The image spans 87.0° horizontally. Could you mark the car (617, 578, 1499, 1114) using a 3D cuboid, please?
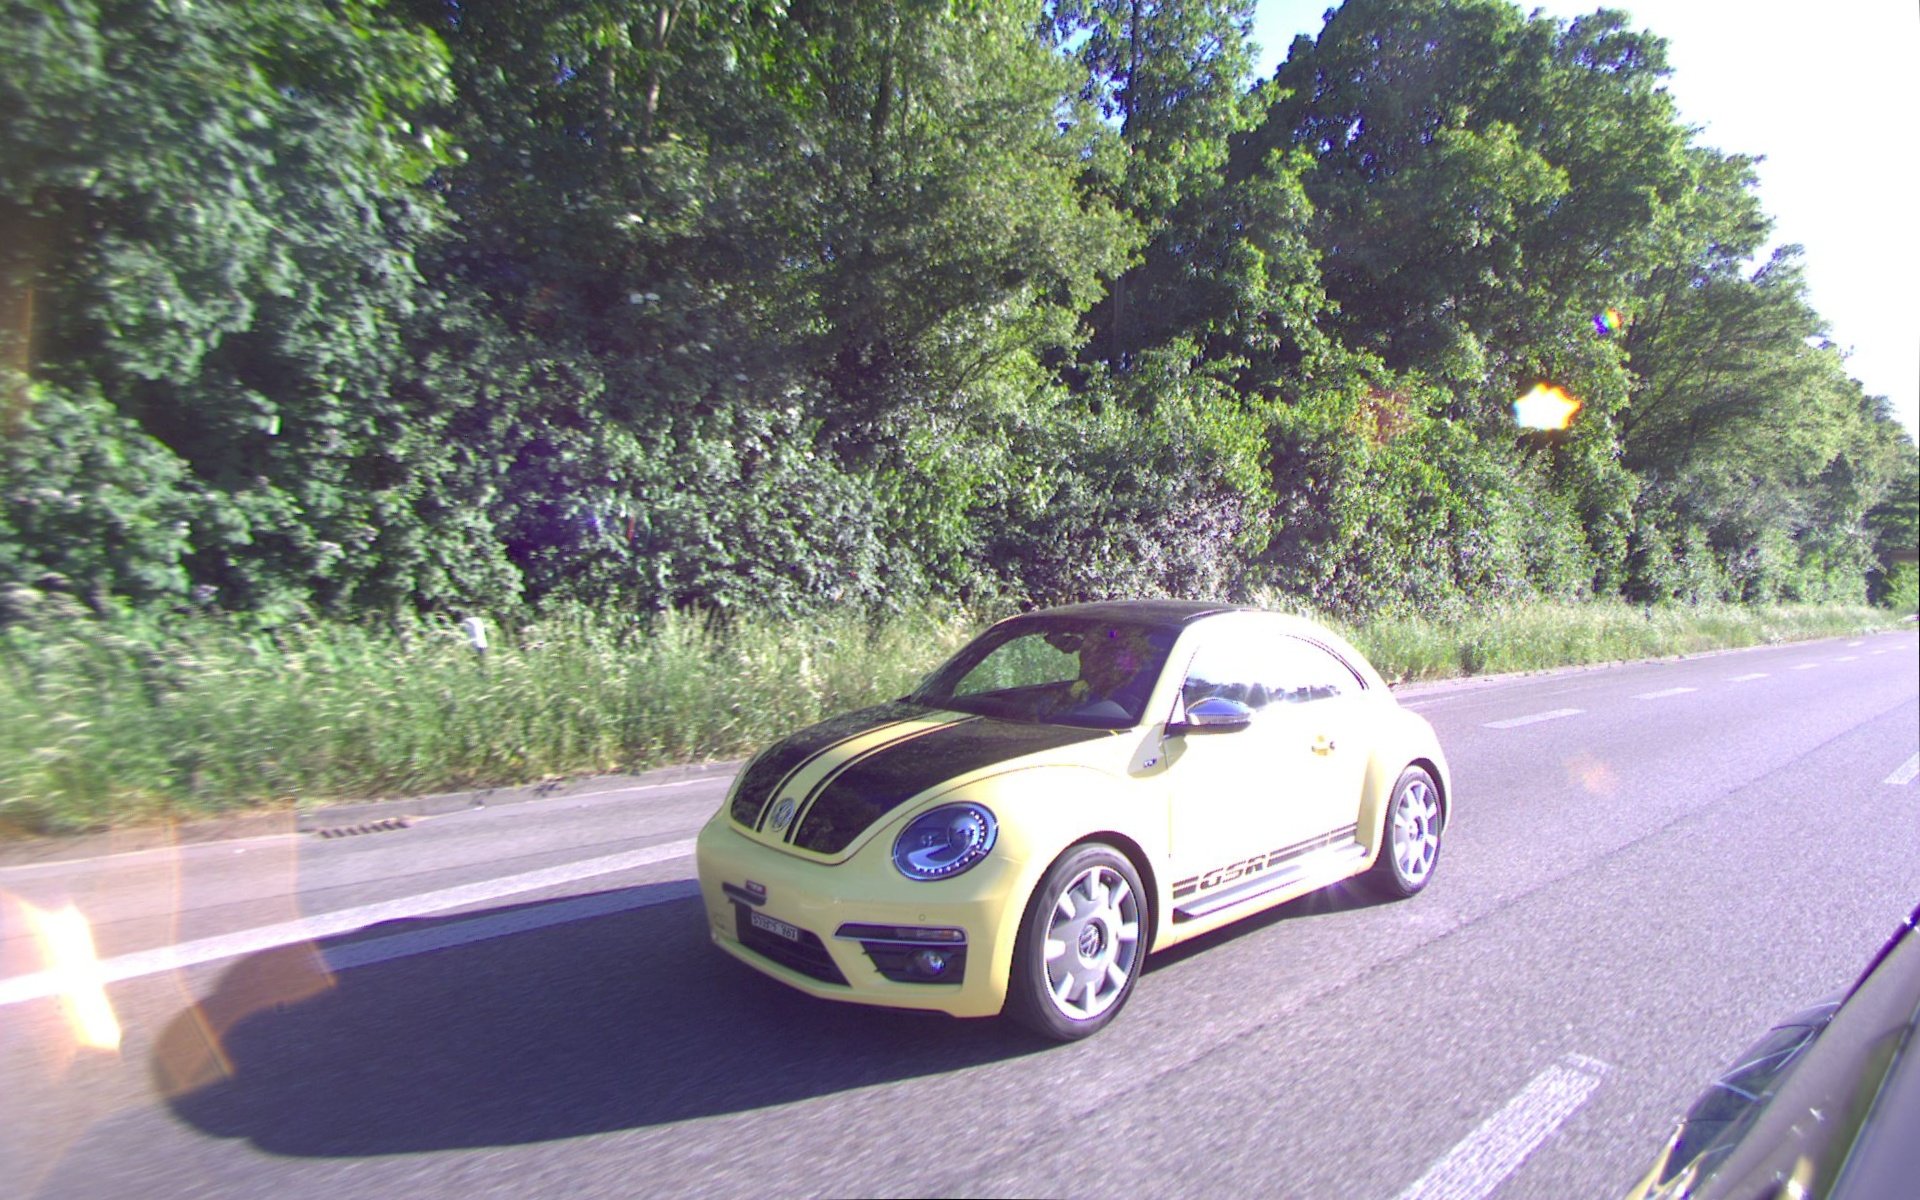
[{"bbox_3d":[0.786,0.665,4.930,4.280,1.480,1.882,0,1,-41],"label":"car"}]
